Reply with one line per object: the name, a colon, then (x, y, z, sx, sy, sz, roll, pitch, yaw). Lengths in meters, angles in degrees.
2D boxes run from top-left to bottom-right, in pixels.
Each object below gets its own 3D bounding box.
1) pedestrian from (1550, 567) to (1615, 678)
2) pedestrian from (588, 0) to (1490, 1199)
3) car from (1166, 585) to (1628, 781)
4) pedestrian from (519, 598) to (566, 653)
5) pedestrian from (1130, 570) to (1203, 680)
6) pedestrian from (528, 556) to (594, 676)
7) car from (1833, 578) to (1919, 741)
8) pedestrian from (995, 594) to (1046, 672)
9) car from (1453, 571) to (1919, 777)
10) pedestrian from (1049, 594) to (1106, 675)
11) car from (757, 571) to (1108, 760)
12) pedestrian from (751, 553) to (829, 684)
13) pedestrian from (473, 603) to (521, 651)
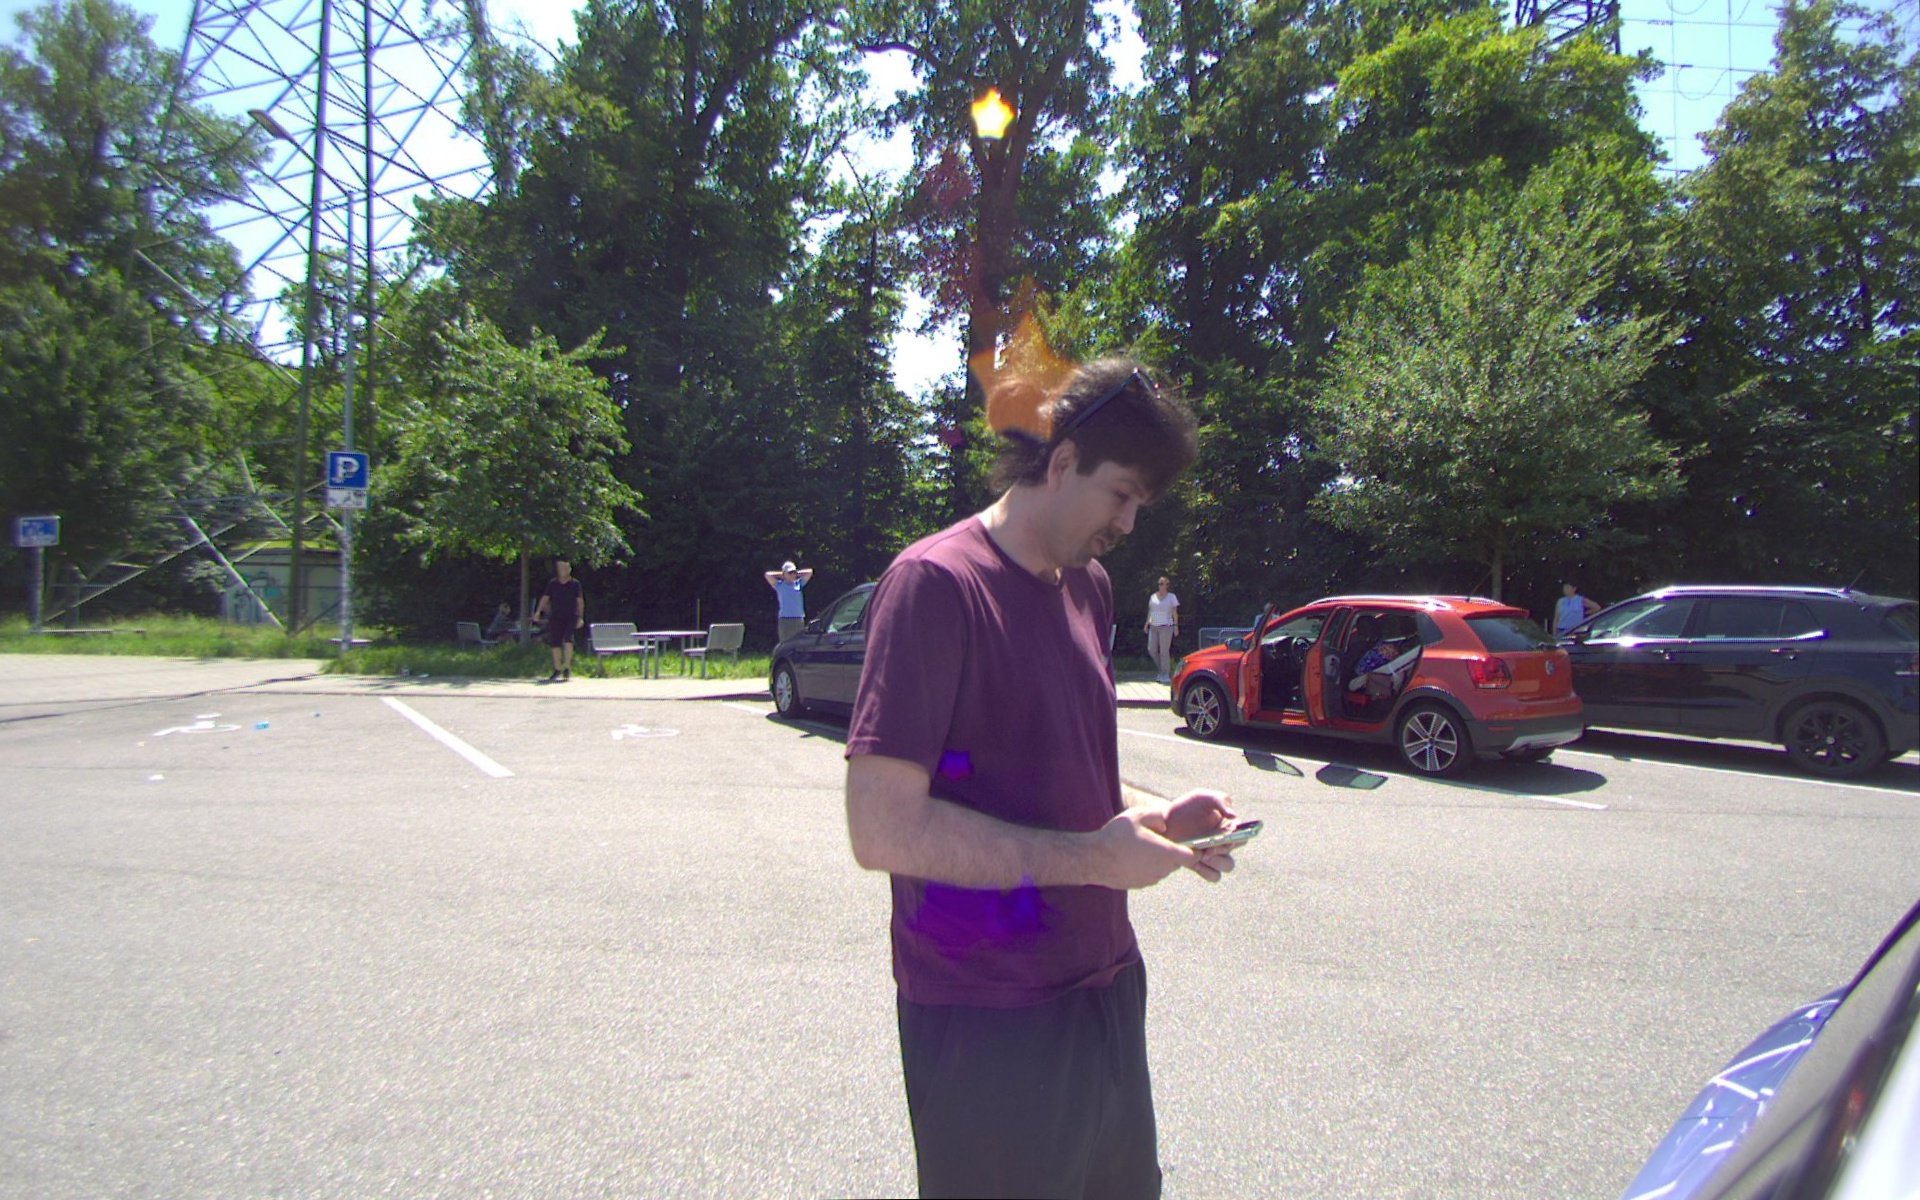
pedestrian: (9.362, 0.330, 15.215, 0.712, 1.614, 0.797, 0, -1, 42)
pedestrian: (0.125, 0.426, 1.382, 0.828, 1.797, 0.926, 0, -1, 45)
car: (3.927, 0.624, 9.650, 1.746, 1.475, 3.710, 1, 0, -33)
pedestrian: (-9.698, 0.581, 23.490, 0.796, 1.253, 0.713, 1, -1, -44)
pedestrian: (3.161, 0.371, 15.488, 0.796, 1.614, 0.774, 1, -1, -43)
pedestrian: (-6.321, 0.249, 16.078, 0.701, 1.851, 0.905, 1, -1, -3)
car: (10.929, 0.602, 9.385, 1.745, 1.612, 3.972, 1, 0, -32)
pedestrian: (1.021, 0.544, 17.069, 0.656, 1.285, 0.655, 1, -1, -17)
car: (7.208, 0.578, 9.837, 1.807, 1.612, 3.967, 1, 0, -38)
pedestrian: (1.954, 0.568, 16.869, 0.656, 1.311, 0.832, 1, -1, -17)
car: (-0.484, 0.548, 10.698, 1.809, 1.588, 4.017, 1, 0, -35)
pedestrian: (-2.401, 0.251, 14.280, 0.786, 1.784, 0.809, 1, -1, -39)
pedestrian: (-10.456, 0.606, 22.866, 0.796, 1.062, 0.714, 1, -1, -43)
